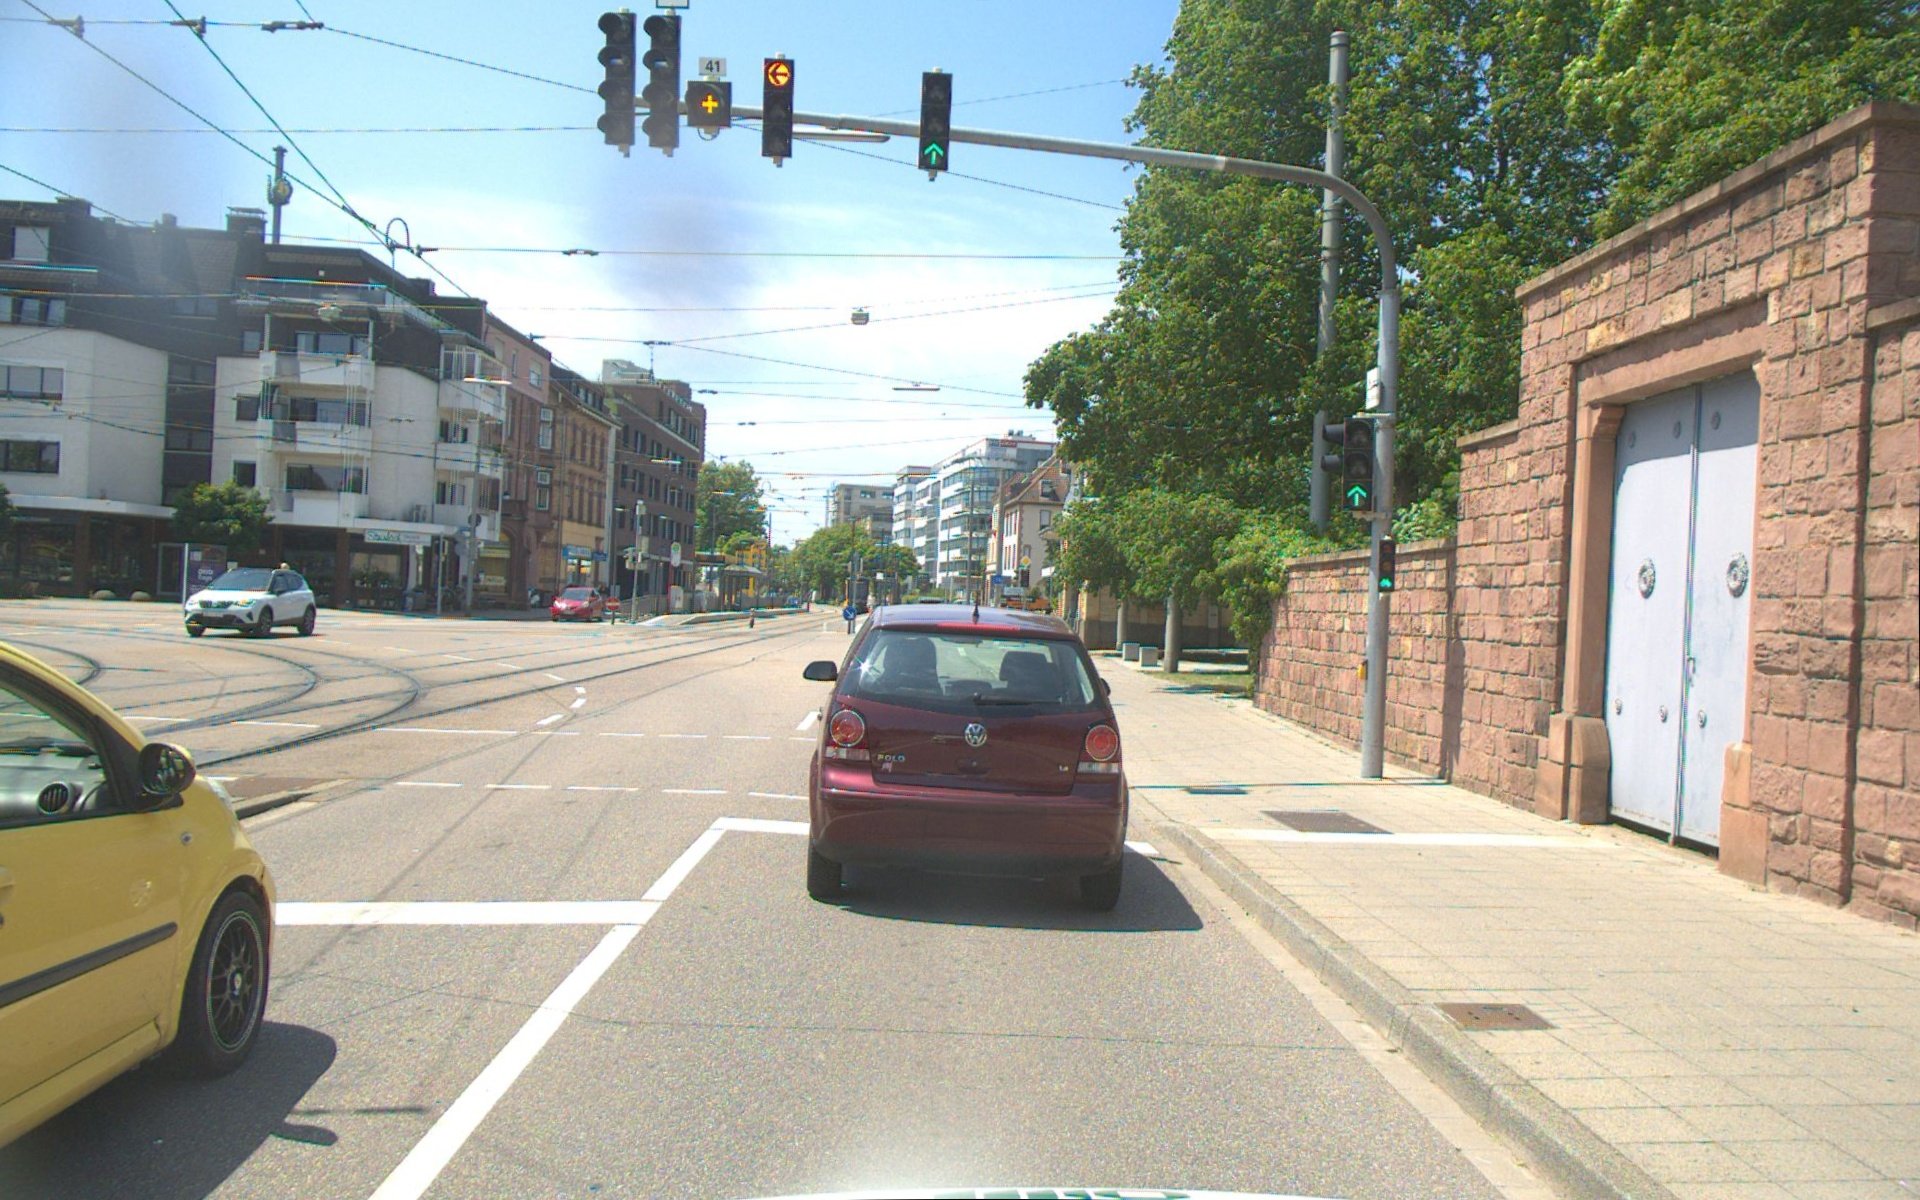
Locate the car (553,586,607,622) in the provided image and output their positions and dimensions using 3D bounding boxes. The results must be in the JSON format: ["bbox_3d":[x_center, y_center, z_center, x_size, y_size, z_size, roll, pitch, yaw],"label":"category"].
[{"bbox_3d":[-16.999,0.161,74.169,1.591,1.509,3.827,2,0,-2],"label":"car"}]

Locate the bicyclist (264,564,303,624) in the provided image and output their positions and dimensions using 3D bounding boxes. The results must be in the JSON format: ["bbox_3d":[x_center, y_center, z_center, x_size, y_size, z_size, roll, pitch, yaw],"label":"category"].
[{"bbox_3d":[-20.599,-0.191,50.376,0.680,1.796,1.137,2,1,-2],"label":"bicyclist"}]

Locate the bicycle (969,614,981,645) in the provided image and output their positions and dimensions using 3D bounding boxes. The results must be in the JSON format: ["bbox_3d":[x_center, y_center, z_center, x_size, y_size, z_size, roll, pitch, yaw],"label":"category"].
[{"bbox_3d":[0.624,1.228,68.789,0.368,1.218,1.904,2,0,-2],"label":"bicycle"}]

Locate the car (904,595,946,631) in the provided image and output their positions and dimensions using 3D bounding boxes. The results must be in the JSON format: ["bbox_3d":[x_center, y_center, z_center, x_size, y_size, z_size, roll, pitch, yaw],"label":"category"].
[{"bbox_3d":[-1.703,0.629,81.310,1.953,1.653,4.630,2,0,-1],"label":"car"}]

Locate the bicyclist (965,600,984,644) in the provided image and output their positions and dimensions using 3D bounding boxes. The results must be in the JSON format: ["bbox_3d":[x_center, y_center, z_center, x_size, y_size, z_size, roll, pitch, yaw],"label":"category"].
[{"bbox_3d":[0.607,0.930,68.957,0.712,1.791,0.923,2,0,-1],"label":"bicyclist"}]

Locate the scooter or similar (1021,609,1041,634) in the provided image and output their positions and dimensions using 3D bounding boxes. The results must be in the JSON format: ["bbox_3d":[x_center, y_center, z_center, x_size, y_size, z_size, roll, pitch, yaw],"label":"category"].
[{"bbox_3d":[3.602,1.078,83.769,0.335,1.198,1.456,2,0,-24],"label":"scooter or similar"}]

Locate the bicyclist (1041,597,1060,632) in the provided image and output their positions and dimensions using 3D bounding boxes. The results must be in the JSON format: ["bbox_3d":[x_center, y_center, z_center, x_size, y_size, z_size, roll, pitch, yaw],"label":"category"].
[{"bbox_3d":[4.340,0.675,79.743,0.815,1.646,0.859,-1,0,-2],"label":"bicyclist"}]

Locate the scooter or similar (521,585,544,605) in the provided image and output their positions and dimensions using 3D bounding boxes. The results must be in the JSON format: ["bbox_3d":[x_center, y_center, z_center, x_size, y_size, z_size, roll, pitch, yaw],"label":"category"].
[{"bbox_3d":[-23.637,-0.278,91.389,0.477,1.101,1.578,2,0,15],"label":"scooter or similar"}]

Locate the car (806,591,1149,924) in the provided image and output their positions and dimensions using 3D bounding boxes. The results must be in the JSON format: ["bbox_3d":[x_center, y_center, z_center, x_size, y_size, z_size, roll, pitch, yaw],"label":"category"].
[{"bbox_3d":[0.040,0.729,9.144,1.530,1.479,3.060,2,0,-2],"label":"car"}]

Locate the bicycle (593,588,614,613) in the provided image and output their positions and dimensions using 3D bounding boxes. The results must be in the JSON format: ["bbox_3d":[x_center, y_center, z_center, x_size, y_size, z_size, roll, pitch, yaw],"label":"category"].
[{"bbox_3d":[-19.856,0.032,92.162,0.663,1.327,2.104,2,0,-1],"label":"bicycle"}]

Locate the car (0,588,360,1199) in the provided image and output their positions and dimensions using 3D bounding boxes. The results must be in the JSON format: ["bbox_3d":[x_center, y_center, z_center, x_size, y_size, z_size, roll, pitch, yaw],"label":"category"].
[{"bbox_3d":[-2.867,0.701,4.012,1.583,1.446,3.654,0,0,-2],"label":"car"}]

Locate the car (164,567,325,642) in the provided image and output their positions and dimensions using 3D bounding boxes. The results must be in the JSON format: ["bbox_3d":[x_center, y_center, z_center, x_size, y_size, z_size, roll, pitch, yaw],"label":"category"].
[{"bbox_3d":[-16.602,0.093,38.619,1.953,1.580,4.138,2,0,-1],"label":"car"}]

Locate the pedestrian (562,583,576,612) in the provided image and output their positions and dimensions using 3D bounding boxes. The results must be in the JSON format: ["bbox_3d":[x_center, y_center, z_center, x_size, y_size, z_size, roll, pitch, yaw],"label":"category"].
[{"bbox_3d":[-21.882,-0.161,92.589,0.602,1.588,0.640,2,0,-2],"label":"pedestrian"}]

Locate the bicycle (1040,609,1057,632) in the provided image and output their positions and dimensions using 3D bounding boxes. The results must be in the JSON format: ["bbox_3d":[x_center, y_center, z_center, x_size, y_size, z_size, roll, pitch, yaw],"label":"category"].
[{"bbox_3d":[4.274,0.983,79.716,0.655,1.020,1.863,-1,0,-1],"label":"bicycle"}]

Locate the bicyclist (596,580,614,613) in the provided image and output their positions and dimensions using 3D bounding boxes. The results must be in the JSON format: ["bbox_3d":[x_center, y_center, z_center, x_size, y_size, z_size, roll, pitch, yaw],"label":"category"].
[{"bbox_3d":[-19.823,-0.206,92.284,0.717,1.793,1.134,2,0,-1],"label":"bicyclist"}]

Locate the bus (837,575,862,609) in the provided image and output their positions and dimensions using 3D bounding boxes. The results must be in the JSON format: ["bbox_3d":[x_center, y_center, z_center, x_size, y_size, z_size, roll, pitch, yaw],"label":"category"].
[{"bbox_3d":[-10.293,-0.703,155.023,2.102,3.055,6.570,2,0,-3],"label":"bus"}]

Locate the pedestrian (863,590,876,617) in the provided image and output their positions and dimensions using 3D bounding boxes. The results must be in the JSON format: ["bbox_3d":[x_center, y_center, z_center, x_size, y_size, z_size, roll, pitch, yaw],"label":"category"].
[{"bbox_3d":[-5.789,0.216,105.794,0.747,1.704,1.100,2,0,-1],"label":"pedestrian"}]

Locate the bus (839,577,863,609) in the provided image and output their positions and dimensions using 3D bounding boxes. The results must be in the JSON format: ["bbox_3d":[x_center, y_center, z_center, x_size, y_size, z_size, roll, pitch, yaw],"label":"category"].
[{"bbox_3d":[-10.710,-0.670,161.569,2.189,3.055,6.587,2,0,-4],"label":"bus"}]
